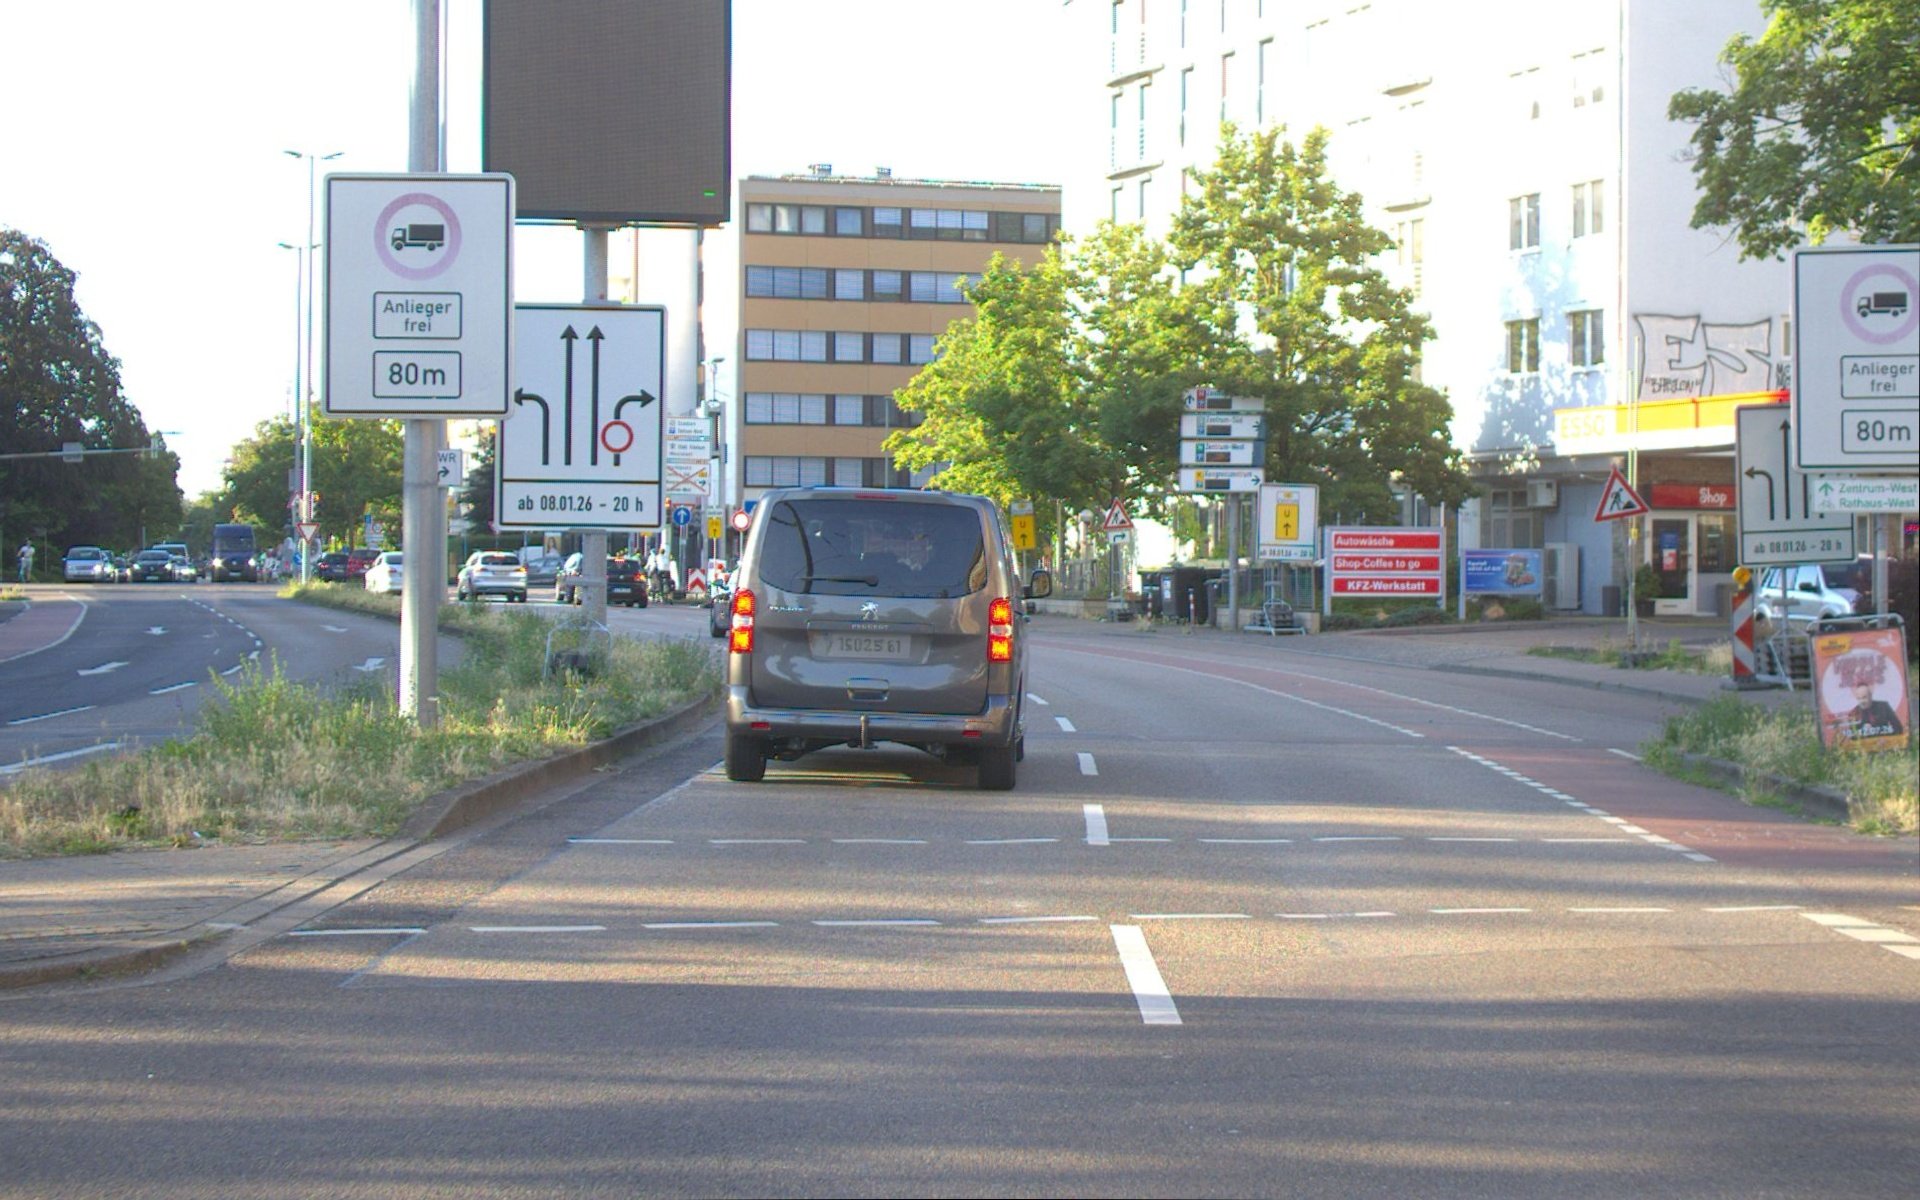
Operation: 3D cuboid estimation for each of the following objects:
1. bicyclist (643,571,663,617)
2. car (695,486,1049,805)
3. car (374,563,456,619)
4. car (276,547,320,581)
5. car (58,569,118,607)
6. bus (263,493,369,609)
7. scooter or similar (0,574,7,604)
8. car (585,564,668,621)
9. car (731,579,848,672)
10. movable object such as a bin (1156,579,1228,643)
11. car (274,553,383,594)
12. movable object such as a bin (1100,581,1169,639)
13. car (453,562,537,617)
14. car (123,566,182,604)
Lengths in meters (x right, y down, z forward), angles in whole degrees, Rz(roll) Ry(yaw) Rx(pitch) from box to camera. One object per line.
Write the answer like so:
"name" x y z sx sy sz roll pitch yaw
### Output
"bicyclist" -9.776 -0.185 109.429 0.540 1.454 0.641 1 0 -12
"car" -0.487 0.274 23.282 1.994 1.894 4.298 2 0 3
"car" -16.700 -0.297 105.262 1.993 1.651 4.300 0 0 -16
"car" -34.912 -1.901 181.256 1.848 1.702 3.726 1 1 -18
"car" -37.908 -0.540 149.502 1.993 1.590 4.001 1 1 -6
"bus" -27.316 -2.051 145.416 3.288 4.601 10.003 2 0 -16
"scooter or similar" -31.113 -0.373 109.954 1.098 0.973 0.559 2 0 -23
"car" -9.955 -0.232 102.276 1.993 1.651 4.300 0 0 -12
"car" -3.040 0.429 60.721 1.845 1.539 3.632 1 1 -6
"movable object such as a bin" 5.376 0.242 79.770 1.462 1.449 1.547 0 1 -5
"car" -25.796 -1.091 140.479 3.986 1.590 2.000 1 1 -26
"movable object such as a bin" 4.206 0.233 83.052 1.462 1.381 1.547 0 1 -5
"car" -14.443 -0.328 106.540 1.993 1.651 4.300 0 0 -16
"car" -35.278 -0.681 150.302 1.993 1.590 4.001 1 1 -6
